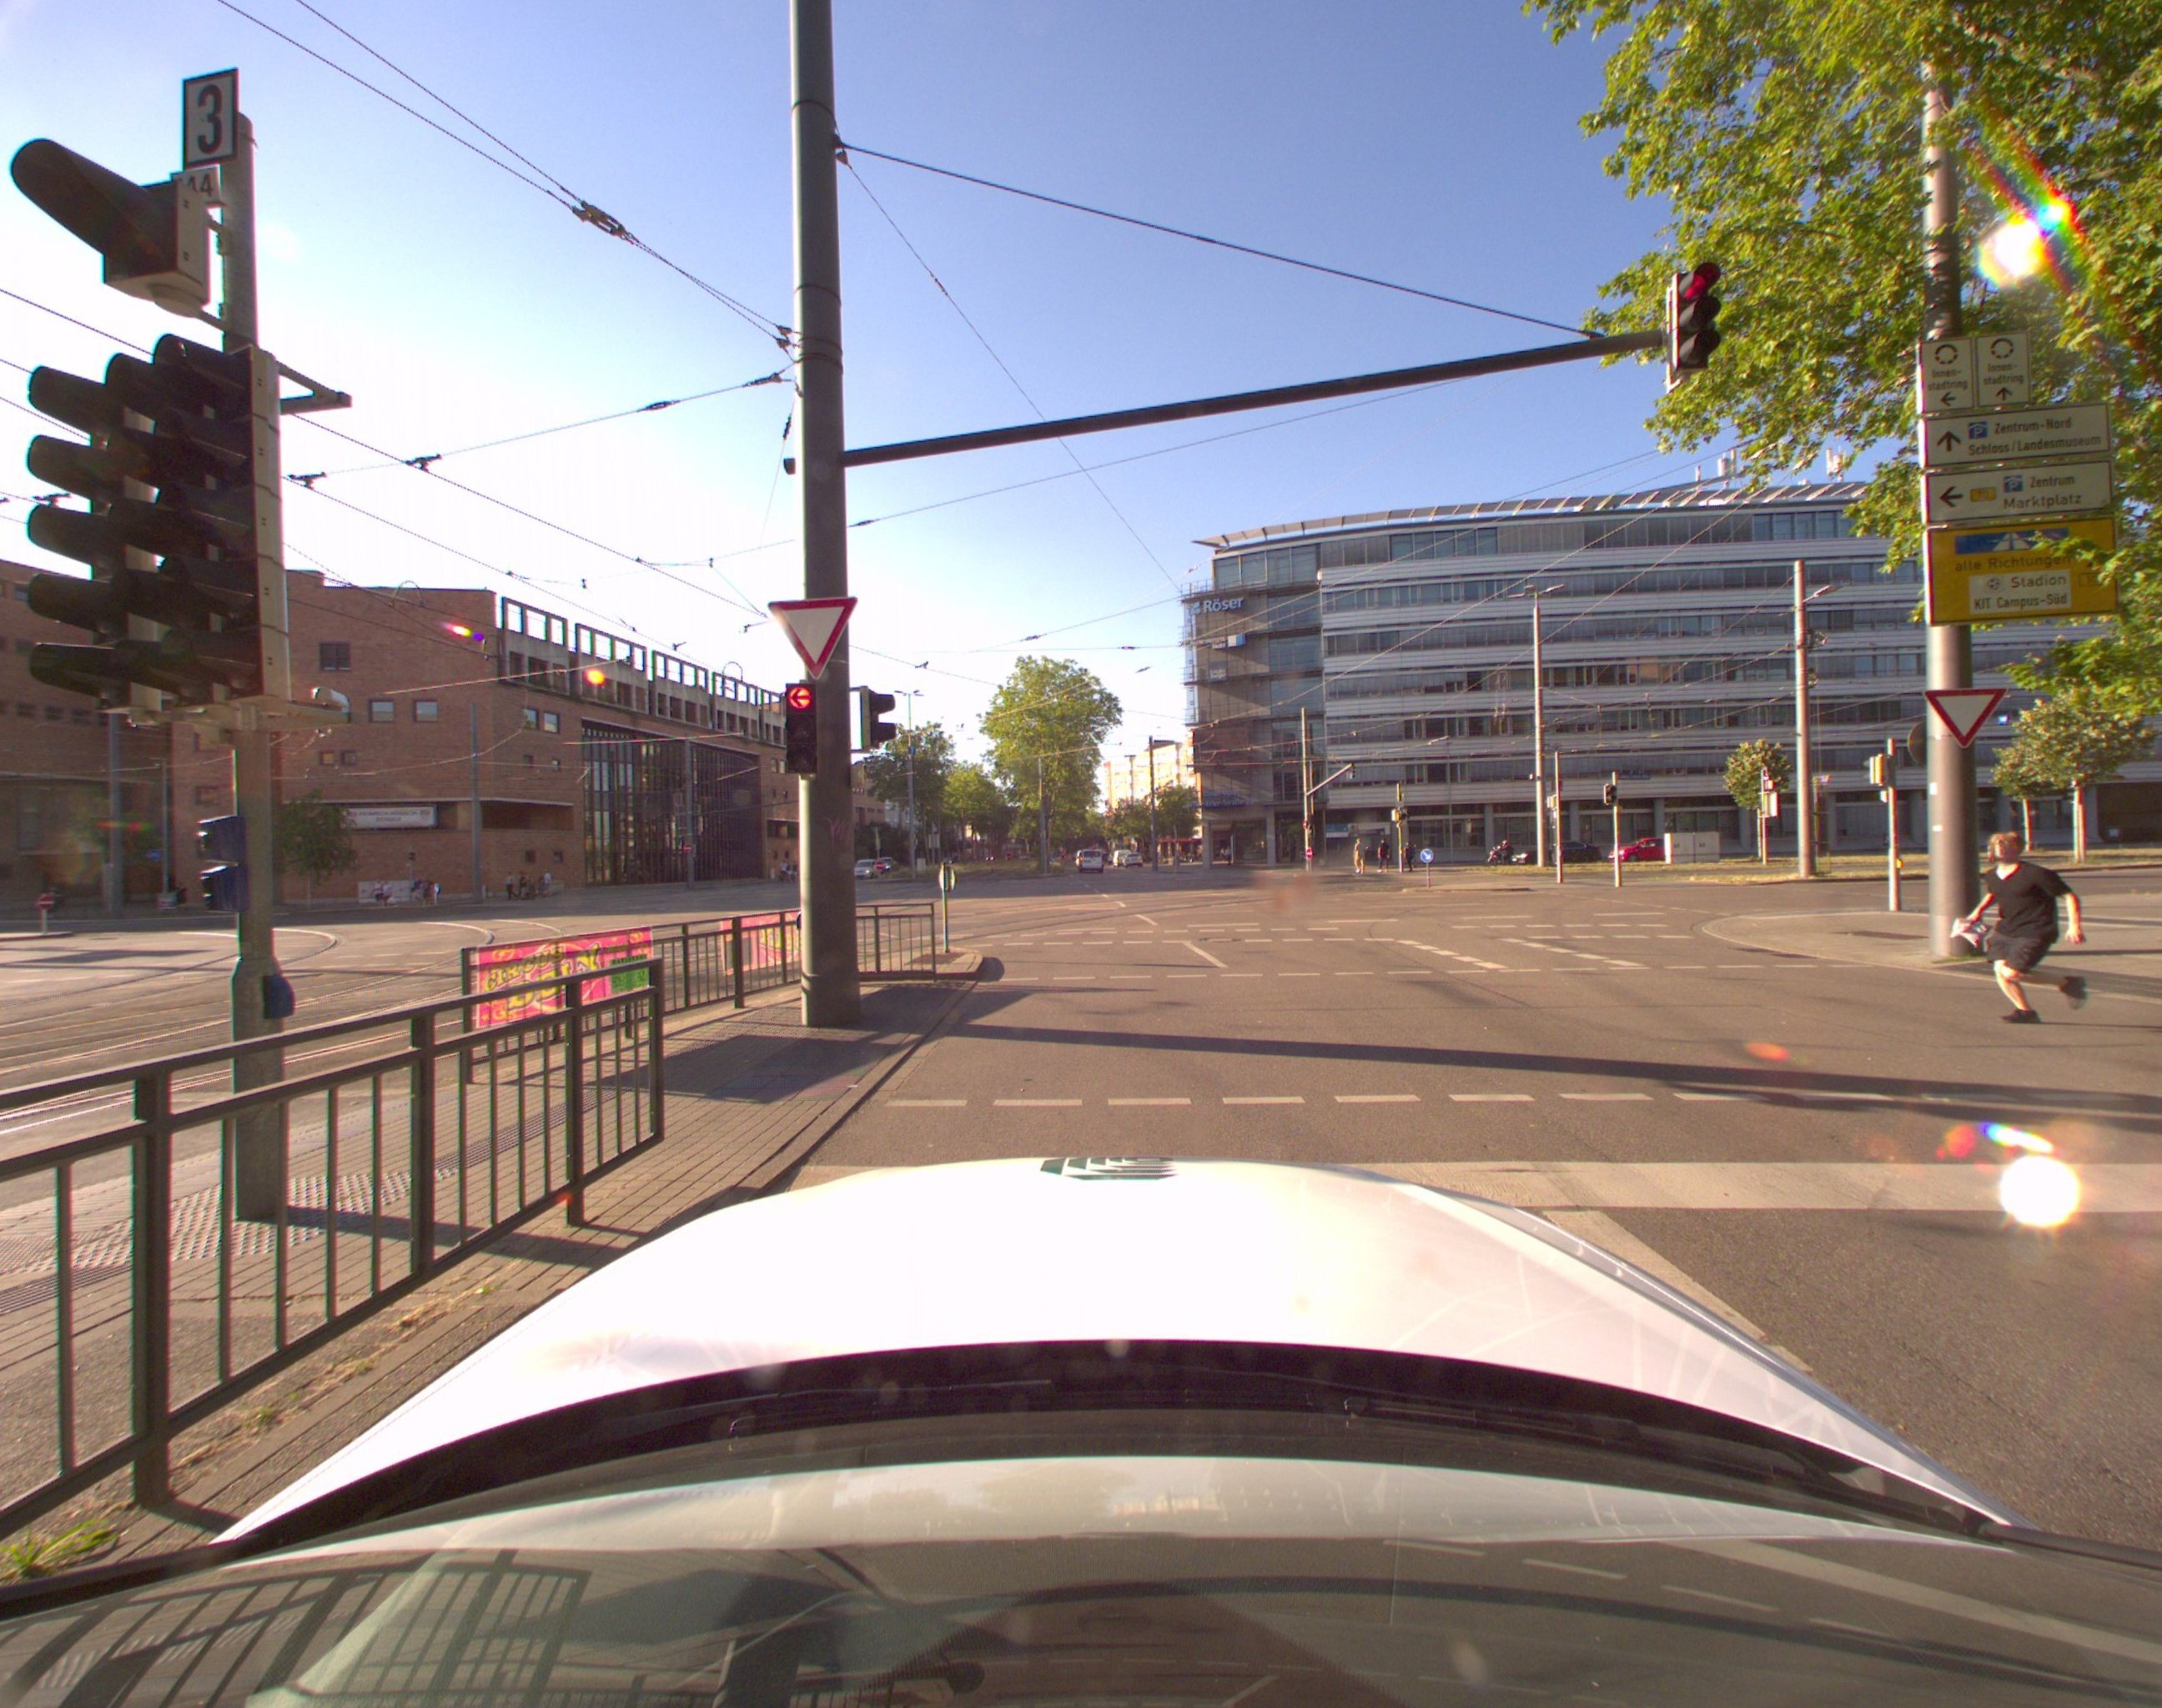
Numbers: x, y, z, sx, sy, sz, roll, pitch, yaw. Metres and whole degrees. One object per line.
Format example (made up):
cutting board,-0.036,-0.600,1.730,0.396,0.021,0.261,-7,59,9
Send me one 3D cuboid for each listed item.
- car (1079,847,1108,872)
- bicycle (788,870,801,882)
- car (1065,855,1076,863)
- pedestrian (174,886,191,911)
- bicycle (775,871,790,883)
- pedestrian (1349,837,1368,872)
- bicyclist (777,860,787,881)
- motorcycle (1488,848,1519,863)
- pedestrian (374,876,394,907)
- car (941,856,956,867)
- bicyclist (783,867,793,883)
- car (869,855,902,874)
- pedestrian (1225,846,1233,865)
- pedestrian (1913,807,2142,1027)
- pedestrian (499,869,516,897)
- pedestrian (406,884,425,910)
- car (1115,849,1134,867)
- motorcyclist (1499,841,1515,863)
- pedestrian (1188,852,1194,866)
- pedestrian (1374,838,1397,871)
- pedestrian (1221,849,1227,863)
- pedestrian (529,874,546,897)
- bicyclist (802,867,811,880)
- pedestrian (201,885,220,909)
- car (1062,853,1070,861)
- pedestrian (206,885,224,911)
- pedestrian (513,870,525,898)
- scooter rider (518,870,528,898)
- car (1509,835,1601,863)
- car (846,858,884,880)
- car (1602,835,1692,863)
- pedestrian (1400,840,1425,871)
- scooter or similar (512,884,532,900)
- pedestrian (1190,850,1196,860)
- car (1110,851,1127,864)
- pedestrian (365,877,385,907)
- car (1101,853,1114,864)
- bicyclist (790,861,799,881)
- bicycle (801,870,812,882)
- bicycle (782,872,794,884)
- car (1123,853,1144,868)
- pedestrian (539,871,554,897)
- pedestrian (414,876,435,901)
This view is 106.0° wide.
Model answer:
car,1.081,0.418,65.184,1.952,1.848,5.336,-2,0,4
bicycle,-23.417,1.795,66.581,0.471,0.963,1.576,-2,0,2
car,-1.910,0.960,147.218,1.792,1.442,3.999,0,-1,0
pedestrian,-53.634,2.632,48.616,0.583,1.463,0.537,-2,0,32
bicycle,-24.300,1.853,66.318,0.540,0.963,1.587,-2,0,2
pedestrian,14.677,0.037,43.032,0.856,1.788,0.876,-2,0,19
bicyclist,-24.318,1.345,66.300,0.534,1.731,0.581,-2,0,1
motorcycle,25.443,0.081,49.038,1.560,0.810,0.468,-2,0,6
pedestrian,-38.035,2.066,44.435,0.595,1.648,0.551,-2,0,10
car,-24.080,1.361,147.974,1.987,2.013,3.999,-2,0,-1
bicyclist,-25.005,1.797,69.507,0.503,1.304,0.581,-2,0,1
car,-18.112,0.961,75.533,1.987,1.640,4.001,-2,0,1
pedestrian,12.245,0.138,67.474,0.609,1.507,0.580,-2,0,8
pedestrian,8.001,0.504,6.928,1.086,1.748,0.742,-1,0,-2
pedestrian,-35.376,1.791,50.231,0.642,1.683,0.626,-2,0,39
pedestrian,-37.874,2.433,46.342,0.563,1.453,0.617,-2,0,16
car,4.748,0.447,89.644,1.986,1.860,4.002,-2,0,2
motorcyclist,25.648,-0.136,49.013,0.708,1.275,0.460,-2,0,5
pedestrian,14.158,0.662,104.867,0.741,1.714,0.612,-2,0,1
pedestrian,16.114,0.033,43.158,0.907,1.685,1.038,-2,0,9
pedestrian,15.253,0.208,87.061,0.608,1.507,0.580,-2,0,9
pedestrian,-34.330,2.007,51.427,0.634,1.421,0.603,-2,0,28
bicyclist,-24.366,1.726,72.237,0.503,1.179,0.581,-2,0,1
pedestrian,-52.968,2.616,49.560,0.556,1.427,0.557,-2,0,-16
car,-3.764,0.802,205.459,1.986,2.013,4.001,-2,0,1
pedestrian,-51.208,2.608,48.132,0.508,1.463,0.466,-2,0,-6
pedestrian,-34.409,1.838,49.850,0.553,1.683,0.585,-2,0,-37
scooter rider,-33.714,1.807,49.198,0.441,1.647,0.226,-2,0,-44
car,26.823,-0.296,46.224,4.136,1.398,1.789,-2,0,7
car,-18.001,1.218,67.958,1.987,1.640,4.001,-2,0,1
car,33.556,-0.295,48.374,3.966,1.393,1.789,-4,0,7
pedestrian,17.171,0.062,42.191,0.943,1.564,0.899,-2,0,9
scooter or similar,-33.724,2.279,49.156,0.956,0.899,0.173,-2,0,-45
pedestrian,14.596,0.162,106.145,0.575,1.289,0.910,-2,0,2
car,4.826,0.474,105.300,1.986,1.618,4.002,-2,0,2
pedestrian,-38.954,2.070,44.911,0.591,1.614,0.592,-2,0,22
car,4.099,0.652,126.782,1.986,1.618,4.002,-2,0,2
bicyclist,-23.369,1.420,66.529,0.456,1.603,0.581,-2,0,1
bicycle,-24.360,1.950,72.226,0.449,0.963,1.348,-2,0,2
bicycle,-24.997,2.039,69.407,0.466,0.963,1.320,-2,0,2
car,5.295,0.618,82.827,1.986,1.376,4.002,-2,0,2
pedestrian,-34.517,1.914,52.591,0.605,1.625,0.622,-2,0,41
pedestrian,-36.946,1.954,45.825,0.597,1.339,0.684,-2,0,17
